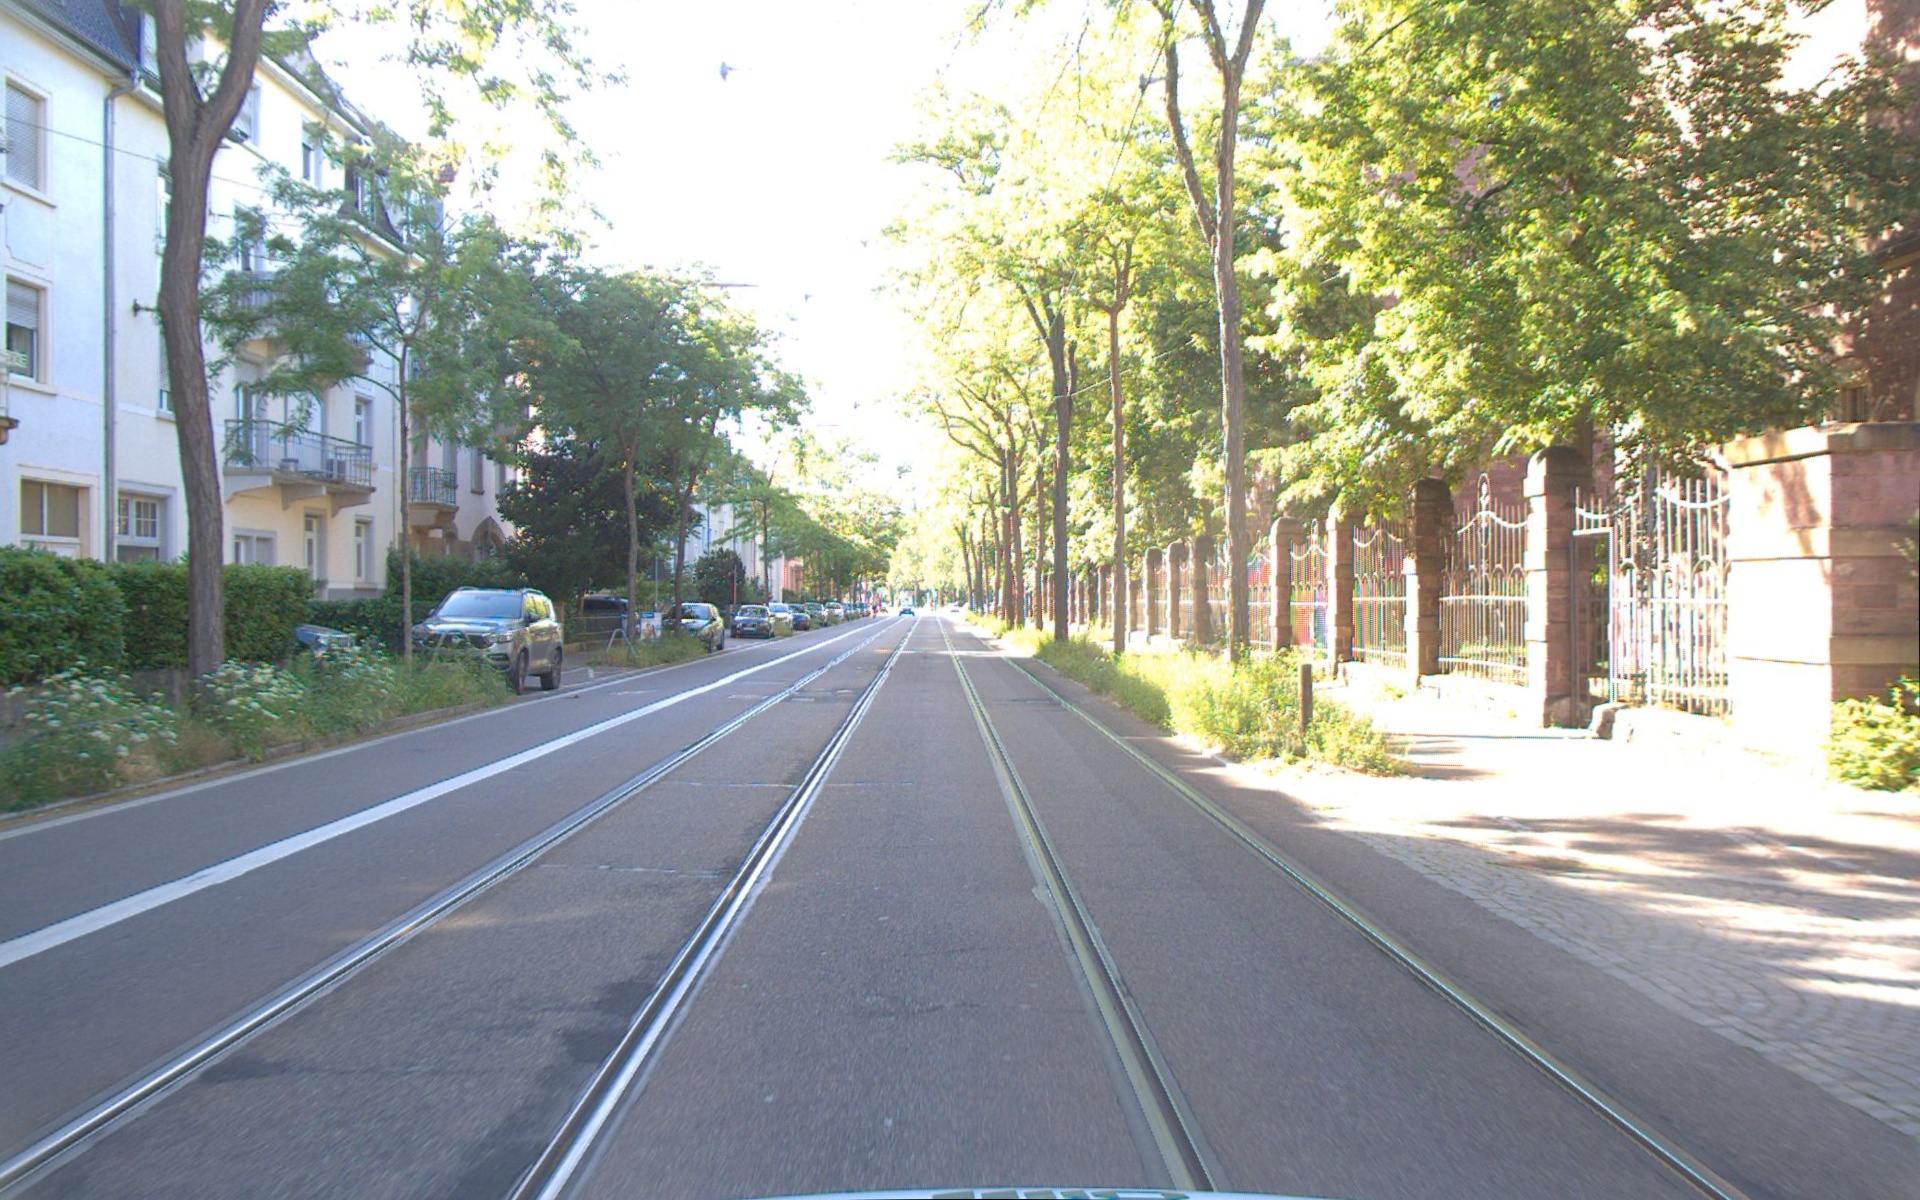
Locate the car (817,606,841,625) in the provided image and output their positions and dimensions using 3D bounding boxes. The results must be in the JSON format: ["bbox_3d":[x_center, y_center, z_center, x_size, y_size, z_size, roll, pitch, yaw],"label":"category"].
[{"bbox_3d":[-10.675,1.250,135.315,1.668,1.511,4.078,2,0,-1],"label":"car"}]

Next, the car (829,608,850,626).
[{"bbox_3d":[-10.445,1.455,143.203,1.653,1.511,3.758,2,0,-2],"label":"car"}]

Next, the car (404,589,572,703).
[{"bbox_3d":[-8.305,0.764,29.552,1.833,1.855,4.768,1,0,-3],"label":"car"}]

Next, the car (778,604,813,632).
[{"bbox_3d":[-9.544,1.040,96.164,1.722,1.537,4.436,1,0,-2],"label":"car"}]

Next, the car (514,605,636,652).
[{"bbox_3d":[-14.263,1.039,61.494,4.082,1.688,1.982,1,0,-3],"label":"car"}]

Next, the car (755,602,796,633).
[{"bbox_3d":[-9.554,0.908,85.943,1.780,1.537,4.369,1,0,-2],"label":"car"}]

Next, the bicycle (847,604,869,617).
[{"bbox_3d":[-10.644,1.121,172.489,2.236,1.219,0.560,2,0,6],"label":"bicycle"}]

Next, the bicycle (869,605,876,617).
[{"bbox_3d":[-9.369,1.155,177.536,0.614,1.198,1.912,-3,0,-1],"label":"bicycle"}]

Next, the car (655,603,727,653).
[{"bbox_3d":[-8.925,0.896,55.186,1.740,1.568,4.484,1,0,-1],"label":"car"}]

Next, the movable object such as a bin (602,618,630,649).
[{"bbox_3d":[-12.220,1.187,58.772,0.857,1.084,0.814,0,0,-1],"label":"movable object such as a bin"}]

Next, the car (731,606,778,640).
[{"bbox_3d":[-9.216,1.017,74.445,1.671,1.431,4.332,1,0,-2],"label":"car"}]

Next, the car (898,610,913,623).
[{"bbox_3d":[-6.131,1.881,185.669,1.722,1.464,4.521,0,0,-2],"label":"car"}]

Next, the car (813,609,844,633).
[{"bbox_3d":[-8.684,1.378,109.388,1.780,1.511,4.205,1,0,-1],"label":"car"}]

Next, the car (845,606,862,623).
[{"bbox_3d":[-9.840,1.299,153.245,1.529,1.482,3.928,2,0,-3],"label":"car"}]

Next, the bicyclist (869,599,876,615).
[{"bbox_3d":[-9.380,0.726,177.474,0.613,1.667,0.940,-3,0,-1],"label":"bicyclist"}]

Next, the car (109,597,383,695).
[{"bbox_3d":[-13.255,0.832,30.877,4.212,1.690,1.953,1,0,0],"label":"car"}]

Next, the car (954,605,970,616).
[{"bbox_3d":[0.311,1.523,248.396,1.905,1.638,3.995,0,0,-6],"label":"car"}]
